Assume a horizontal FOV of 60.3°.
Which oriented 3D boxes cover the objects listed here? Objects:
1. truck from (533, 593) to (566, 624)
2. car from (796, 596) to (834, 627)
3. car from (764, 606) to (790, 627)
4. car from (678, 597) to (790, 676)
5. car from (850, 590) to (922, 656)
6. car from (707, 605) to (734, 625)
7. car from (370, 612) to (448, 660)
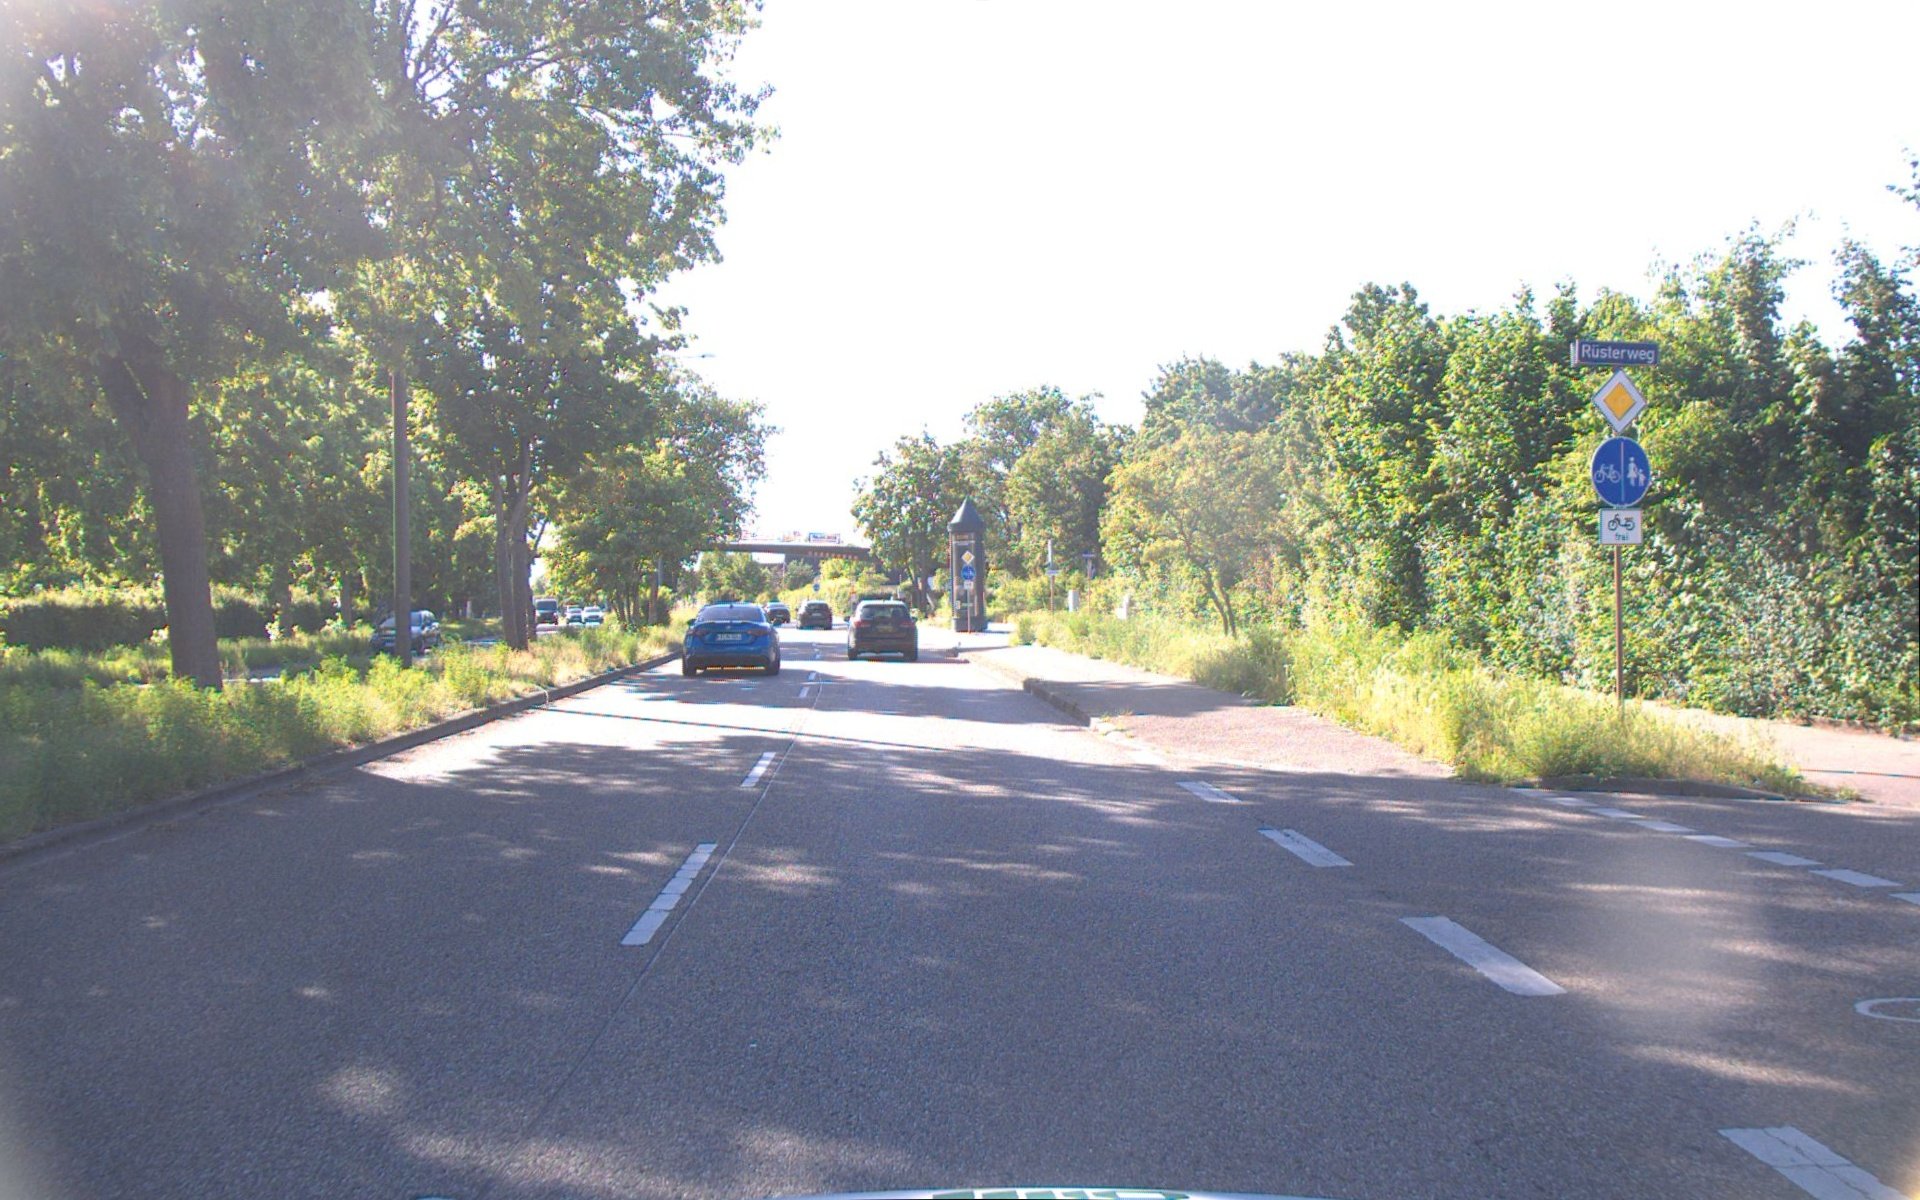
[{"bbox_3d":[-36.405,0.761,146.669,2.141,2.556,5.707,-3,0,-20],"label":"truck"},{"bbox_3d":[-7.815,0.612,88.901,1.712,1.625,4.164,0,0,-10],"label":"car"},{"bbox_3d":[-13.274,1.176,119.821,1.862,1.379,3.994,-1,0,-7],"label":"car"},{"bbox_3d":[-4.518,0.686,33.623,1.955,1.429,3.997,-2,0,-4],"label":"car"},{"bbox_3d":[-1.942,0.611,42.408,1.726,1.587,3.996,1,-1,-4],"label":"car"},{"bbox_3d":[-17.651,1.091,121.786,1.862,1.379,3.994,-1,0,-7],"label":"car"},{"bbox_3d":[-18.725,1.206,56.392,1.661,1.461,4.930,-3,0,-9],"label":"car"}]
